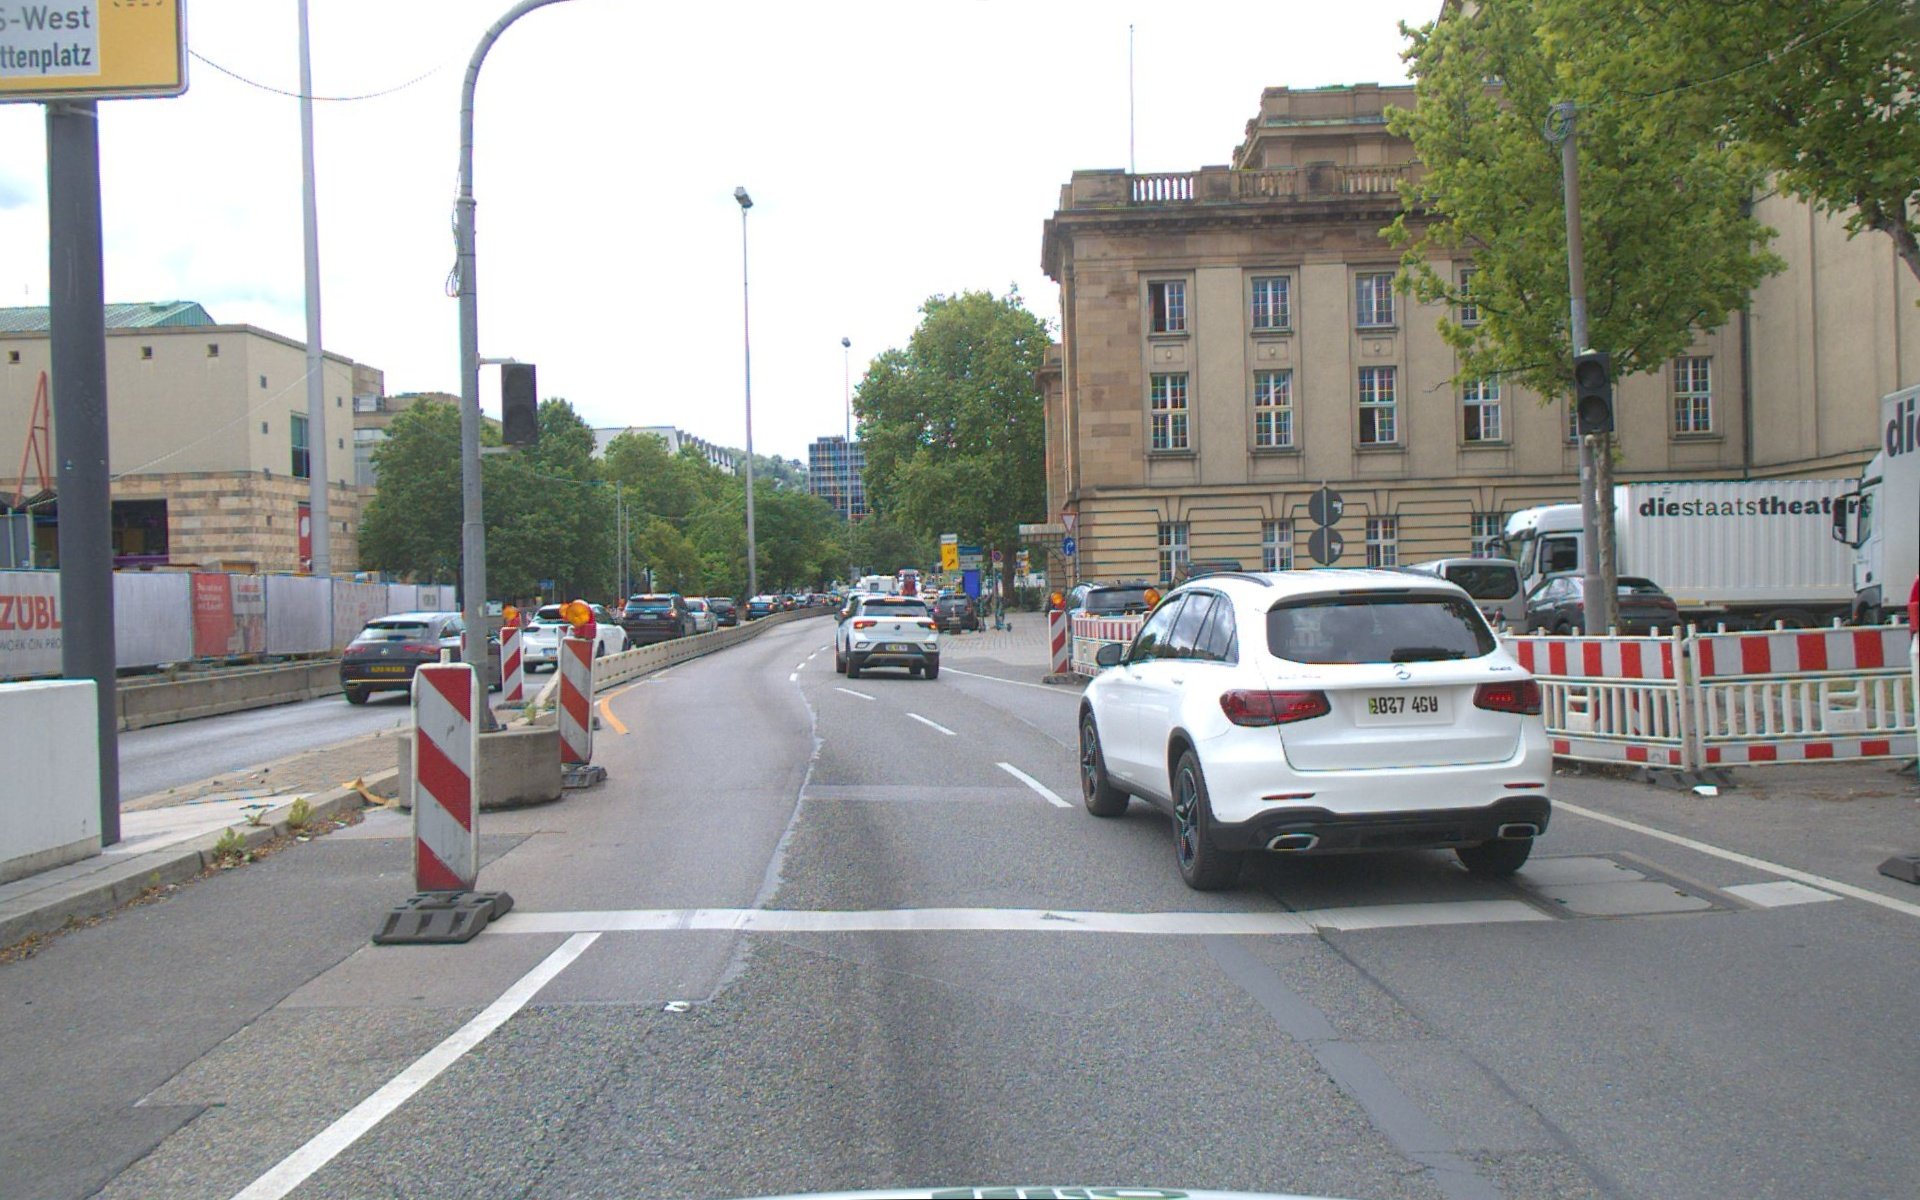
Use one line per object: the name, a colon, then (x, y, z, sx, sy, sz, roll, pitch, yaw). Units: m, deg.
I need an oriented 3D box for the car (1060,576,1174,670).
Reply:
car: (2.866, 0.422, 31.001, 1.715, 1.595, 4.331, -1, 0, 0)

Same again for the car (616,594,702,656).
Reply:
car: (-8.632, 0.687, 47.696, 1.715, 1.595, 3.377, -4, 0, 1)

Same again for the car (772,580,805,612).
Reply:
car: (-12.000, -0.270, 116.176, 1.953, 2.048, 4.000, -2, 2, -2)

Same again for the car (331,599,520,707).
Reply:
car: (-8.766, 0.813, 27.521, 1.715, 1.595, 4.331, -2, 0, 0)

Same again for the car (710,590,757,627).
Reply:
car: (-10.200, 0.376, 74.739, 1.716, 1.595, 4.329, -2, 0, -3)

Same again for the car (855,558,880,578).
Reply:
car: (-12.021, -4.177, 215.625, 2.528, 2.415, 5.530, -2, 1, 4)

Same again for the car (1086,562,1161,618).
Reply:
car: (4.903, -0.277, 50.064, 1.818, 1.595, 4.331, -1, 0, 0)

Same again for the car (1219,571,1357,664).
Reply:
car: (6.095, 0.323, 31.192, 1.715, 1.595, 4.331, -1, 0, 0)

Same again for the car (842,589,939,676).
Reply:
car: (-1.437, 0.599, 32.791, 1.716, 1.595, 4.326, -1, 0, -5)

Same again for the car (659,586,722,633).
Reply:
car: (-9.737, 0.332, 60.090, 1.715, 1.595, 4.329, -2, 0, -3)

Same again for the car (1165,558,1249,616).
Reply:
car: (7.314, -0.357, 49.318, 1.818, 1.595, 4.331, -1, 0, 0)

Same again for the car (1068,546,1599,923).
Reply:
car: (1.937, 0.614, 10.119, 1.777, 1.671, 4.547, -3, 1, -5)

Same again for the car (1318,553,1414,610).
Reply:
car: (12.119, -0.525, 49.613, 1.818, 1.595, 4.331, -1, 0, 0)

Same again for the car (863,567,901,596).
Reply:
car: (-6.796, -1.647, 144.674, 2.528, 2.415, 5.530, -2, 1, 4)

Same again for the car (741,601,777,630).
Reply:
car: (-11.757, 0.891, 96.954, 1.716, 1.595, 4.329, -2, 0, -3)

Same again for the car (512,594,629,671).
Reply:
car: (-8.577, 0.688, 36.687, 1.714, 1.595, 3.377, -1, 0, 1)

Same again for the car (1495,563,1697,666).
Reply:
car: (10.905, 0.249, 28.690, 1.818, 1.595, 4.331, -1, 0, 0)

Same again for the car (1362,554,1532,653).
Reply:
car: (8.513, 0.072, 29.266, 1.715, 1.595, 4.331, -1, 0, 0)

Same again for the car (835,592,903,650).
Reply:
car: (-2.832, 0.596, 50.768, 1.788, 1.595, 4.474, 2, 1, -6)

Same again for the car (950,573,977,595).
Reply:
car: (0.405, -1.822, 186.856, 2.528, 2.415, 5.530, -2, 1, 4)

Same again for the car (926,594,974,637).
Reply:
car: (-0.386, 0.584, 65.525, 1.786, 1.595, 4.480, 1, 1, 0)

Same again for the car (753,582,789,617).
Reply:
car: (-12.029, -0.061, 105.673, 1.954, 2.048, 3.998, -2, 2, -3)

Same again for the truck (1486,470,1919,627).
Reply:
truck: (17.126, -1.123, 36.982, 9.823, 3.104, 2.569, -2, -1, 0)
